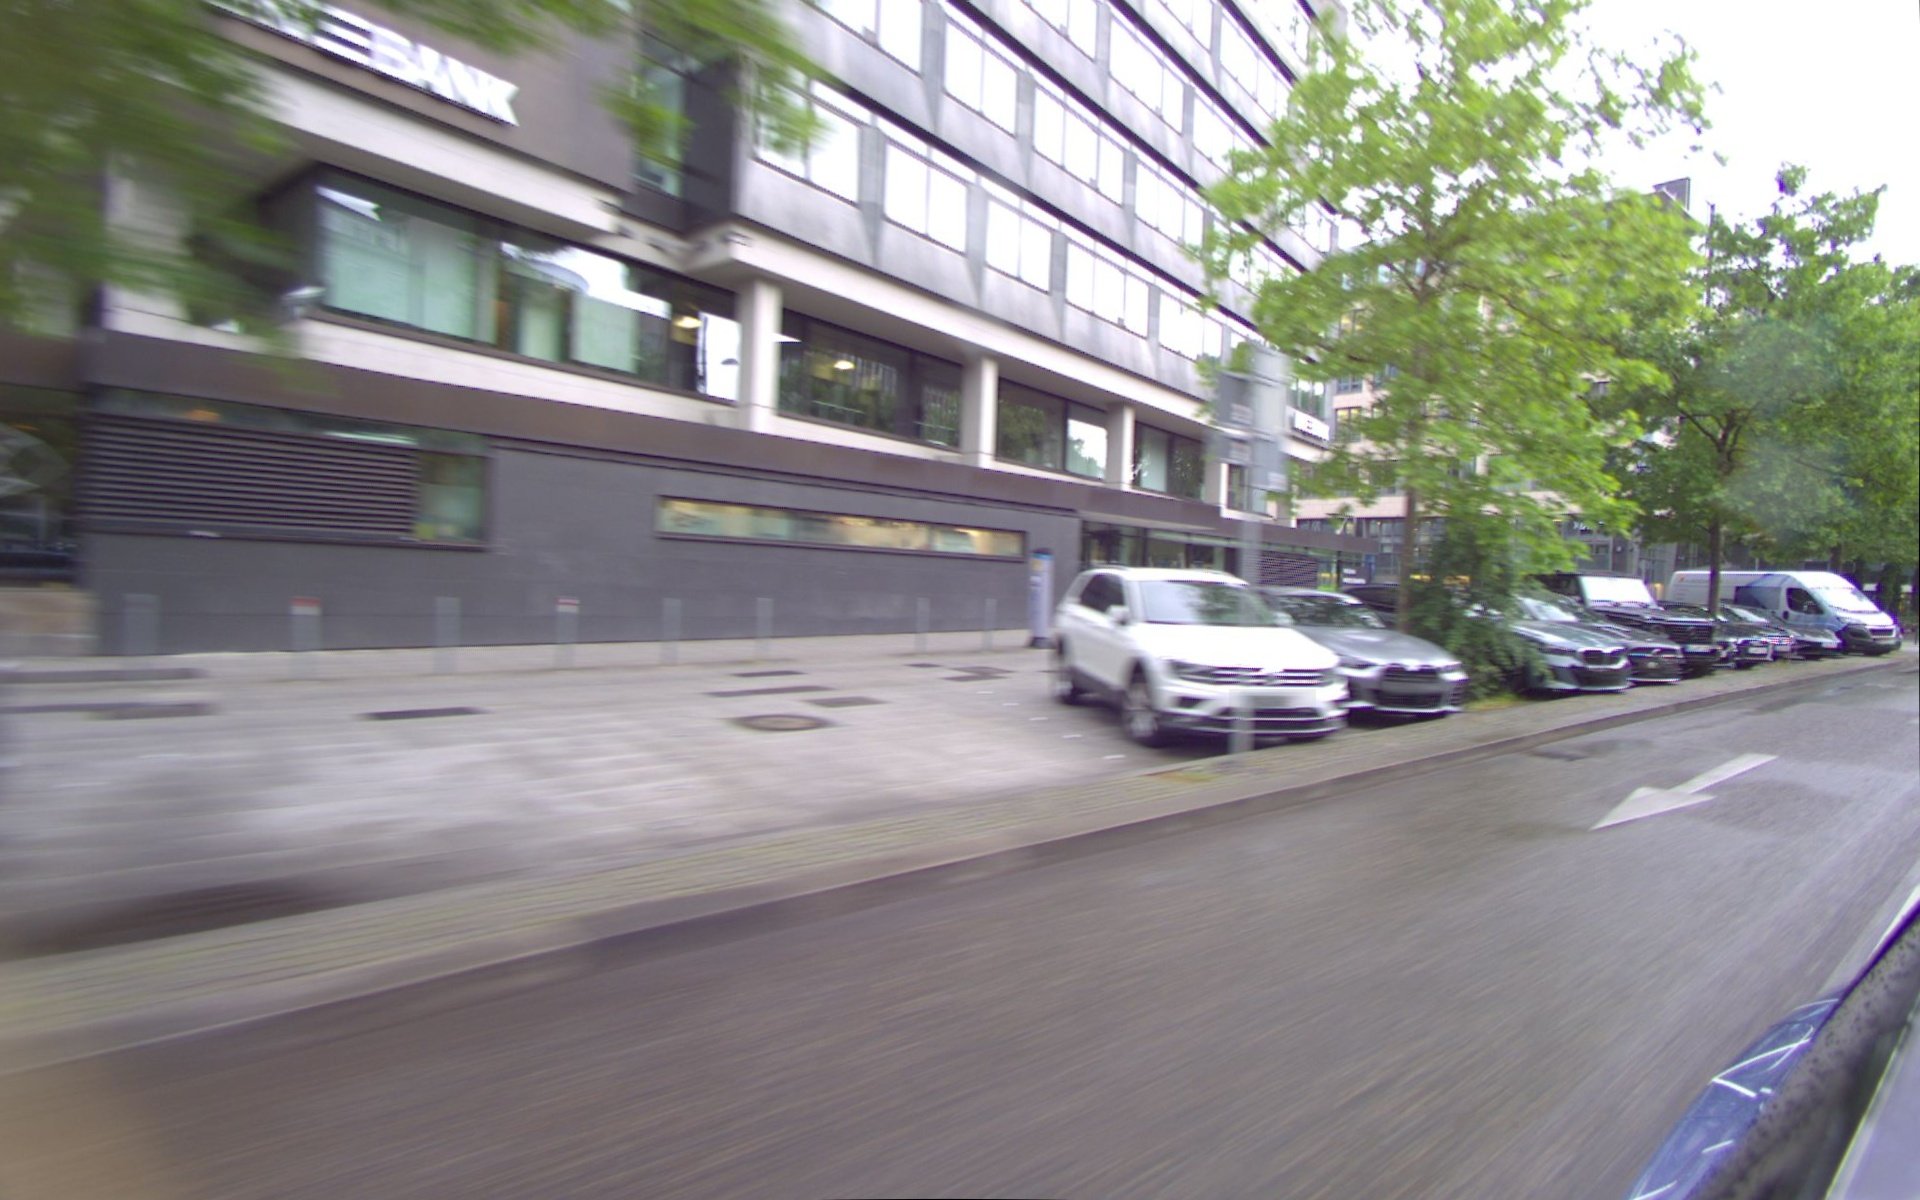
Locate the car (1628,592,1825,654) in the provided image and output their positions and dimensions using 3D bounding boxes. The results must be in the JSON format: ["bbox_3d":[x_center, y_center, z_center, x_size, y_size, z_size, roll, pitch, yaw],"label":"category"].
[{"bbox_3d":[20.280,0.551,27.004,1.673,1.442,4.070,1,1,-11],"label":"car"}]

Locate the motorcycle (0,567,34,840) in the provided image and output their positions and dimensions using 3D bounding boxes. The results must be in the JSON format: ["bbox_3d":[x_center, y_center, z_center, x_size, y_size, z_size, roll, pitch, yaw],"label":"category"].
[{"bbox_3d":[-4.888,0.531,4.579,0.664,1.374,2.091,1,1,-33],"label":"motorcycle"}]

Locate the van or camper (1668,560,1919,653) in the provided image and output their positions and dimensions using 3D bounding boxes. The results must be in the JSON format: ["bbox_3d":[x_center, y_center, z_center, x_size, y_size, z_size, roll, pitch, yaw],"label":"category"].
[{"bbox_3d":[25.120,0.116,30.546,2.267,2.477,6.278,1,1,-10],"label":"van or camper"}]

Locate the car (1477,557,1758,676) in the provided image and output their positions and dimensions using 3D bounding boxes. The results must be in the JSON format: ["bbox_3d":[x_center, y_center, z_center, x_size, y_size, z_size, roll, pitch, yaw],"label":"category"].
[{"bbox_3d":[12.408,0.243,19.540,1.882,2.018,4.527,1,1,-11],"label":"car"}]

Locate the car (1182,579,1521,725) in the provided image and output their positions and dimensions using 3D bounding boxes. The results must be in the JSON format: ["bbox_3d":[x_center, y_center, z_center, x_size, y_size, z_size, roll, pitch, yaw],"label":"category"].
[{"bbox_3d":[4.593,0.497,12.834,1.877,1.492,4.731,1,1,-8],"label":"car"}]

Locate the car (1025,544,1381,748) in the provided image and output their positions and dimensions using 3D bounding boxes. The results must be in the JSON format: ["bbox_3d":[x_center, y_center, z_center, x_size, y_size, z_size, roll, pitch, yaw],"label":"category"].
[{"bbox_3d":[2.210,0.342,10.836,1.876,1.671,4.813,1,1,-10],"label":"car"}]

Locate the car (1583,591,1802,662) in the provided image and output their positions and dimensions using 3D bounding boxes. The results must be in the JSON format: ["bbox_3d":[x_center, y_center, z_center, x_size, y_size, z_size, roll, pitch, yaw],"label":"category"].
[{"bbox_3d":[16.849,0.556,23.546,1.673,1.442,4.021,1,1,-11],"label":"car"}]

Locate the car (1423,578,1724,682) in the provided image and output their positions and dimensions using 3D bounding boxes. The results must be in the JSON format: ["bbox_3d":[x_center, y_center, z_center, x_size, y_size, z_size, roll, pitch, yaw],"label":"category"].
[{"bbox_3d":[10.365,0.412,17.567,1.876,1.557,4.401,1,1,-14],"label":"car"}]

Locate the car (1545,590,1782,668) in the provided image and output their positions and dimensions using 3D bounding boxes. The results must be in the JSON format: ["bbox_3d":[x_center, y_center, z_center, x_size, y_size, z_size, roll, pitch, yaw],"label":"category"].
[{"bbox_3d":[14.807,0.555,21.599,1.700,1.442,4.070,1,1,-11],"label":"car"}]

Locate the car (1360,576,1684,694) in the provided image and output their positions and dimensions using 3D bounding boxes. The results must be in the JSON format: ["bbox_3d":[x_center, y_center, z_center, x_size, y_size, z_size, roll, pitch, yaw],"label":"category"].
[{"bbox_3d":[8.393,0.422,15.661,1.876,1.557,4.367,1,1,-14],"label":"car"}]

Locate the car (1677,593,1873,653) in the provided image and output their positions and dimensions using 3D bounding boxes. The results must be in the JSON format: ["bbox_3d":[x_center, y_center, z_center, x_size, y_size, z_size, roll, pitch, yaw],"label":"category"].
[{"bbox_3d":[22.460,0.585,28.103,1.673,1.442,4.070,1,1,-11],"label":"car"}]
